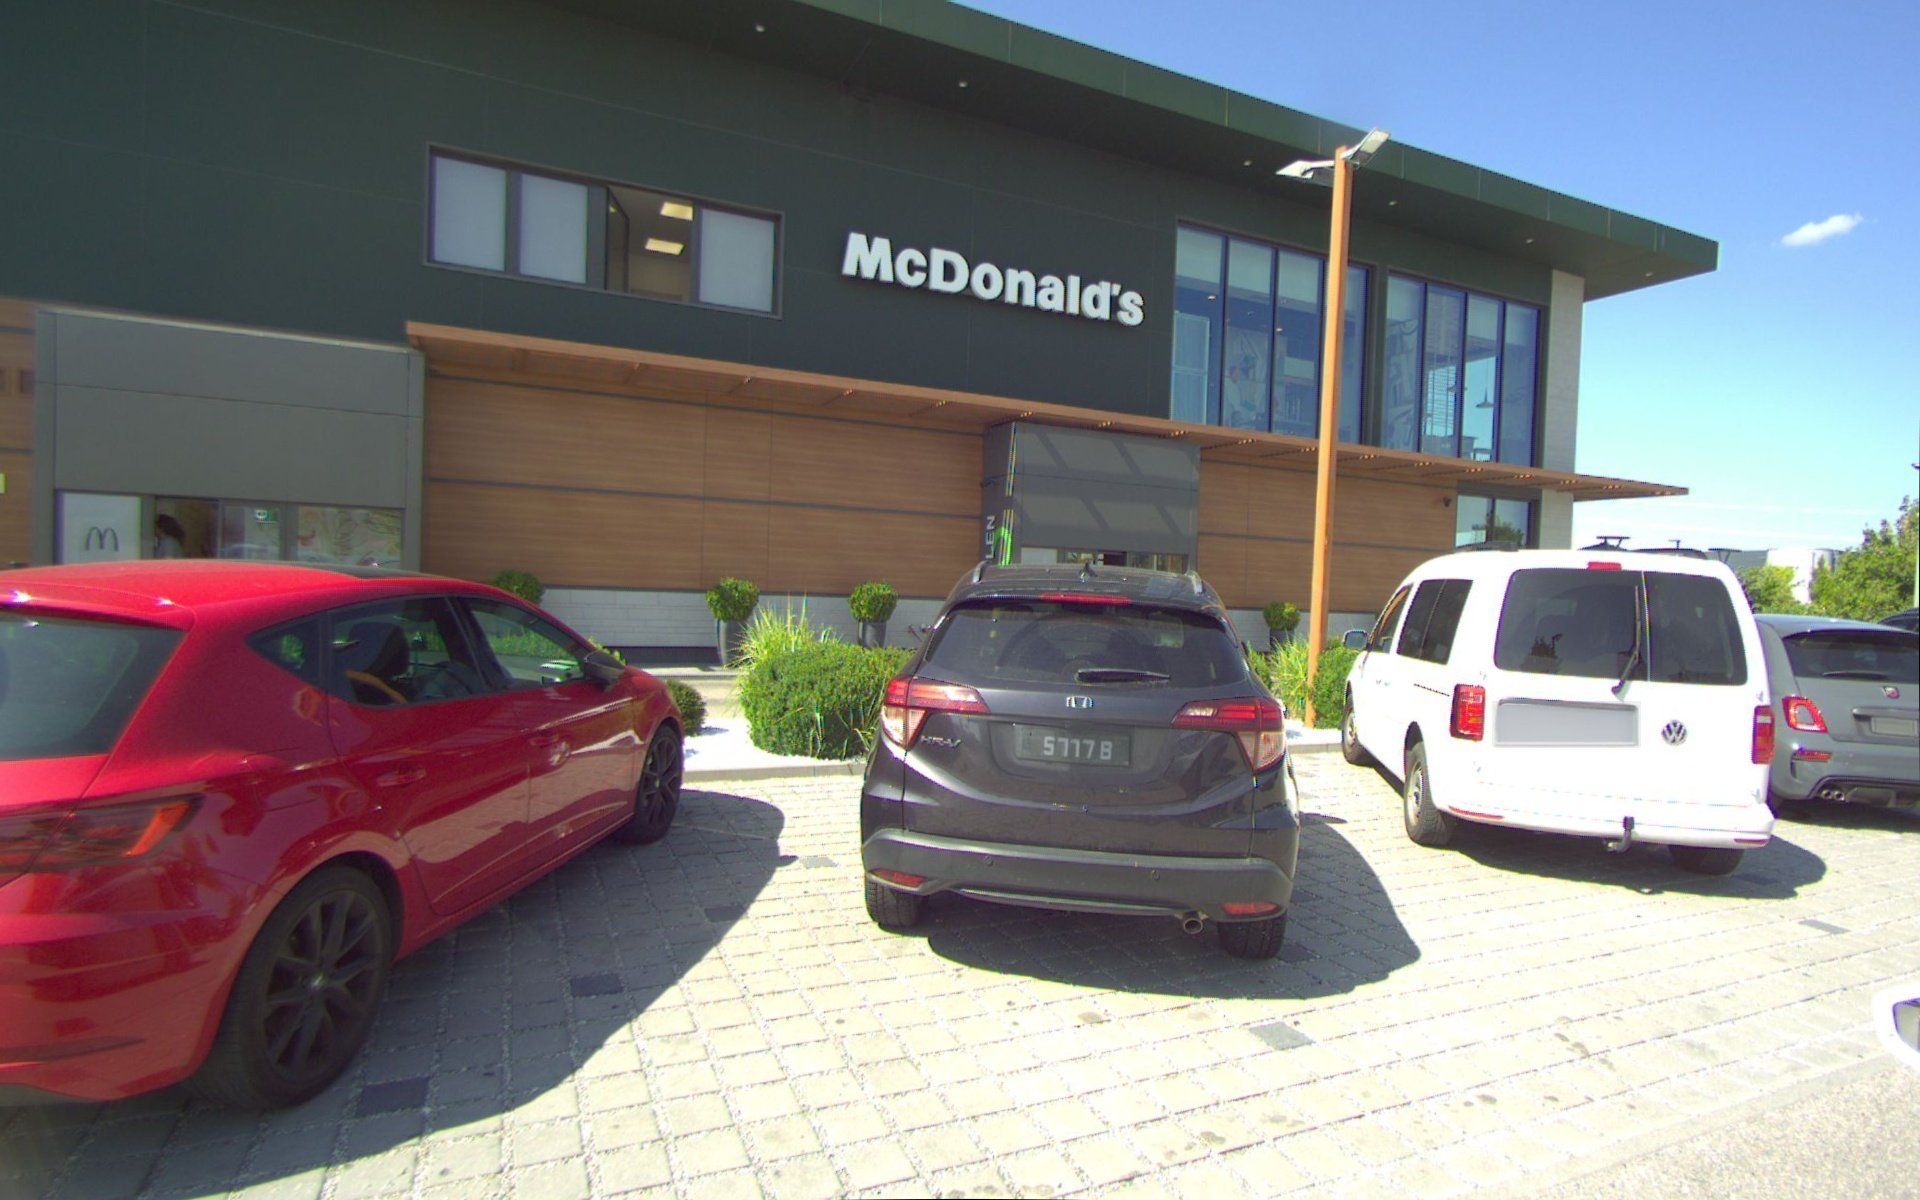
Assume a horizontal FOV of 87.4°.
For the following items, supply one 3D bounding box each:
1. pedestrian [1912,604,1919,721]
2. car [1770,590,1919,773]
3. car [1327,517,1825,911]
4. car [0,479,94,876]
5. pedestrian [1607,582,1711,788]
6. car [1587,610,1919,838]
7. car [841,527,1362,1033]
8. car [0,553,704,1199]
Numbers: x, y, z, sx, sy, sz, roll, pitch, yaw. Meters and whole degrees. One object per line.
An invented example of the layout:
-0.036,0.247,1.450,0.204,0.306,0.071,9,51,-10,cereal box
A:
13.612,0.875,13.615,0.729,1.605,0.726,1,1,-15,pedestrian
10.059,0.783,9.965,1.755,1.625,4.227,2,2,19,car
3.891,0.567,7.239,1.722,1.947,4.147,2,0,12,car
-5.334,0.313,2.926,1.641,1.728,4.041,2,1,13,car
6.044,0.713,8.712,0.601,1.707,0.443,2,0,20,pedestrian
6.898,0.877,8.592,1.536,1.502,3.417,2,1,13,car
0.670,0.601,5.363,1.722,1.654,3.846,2,0,6,car
-2.439,0.591,3.978,1.641,1.463,3.773,2,1,4,car
